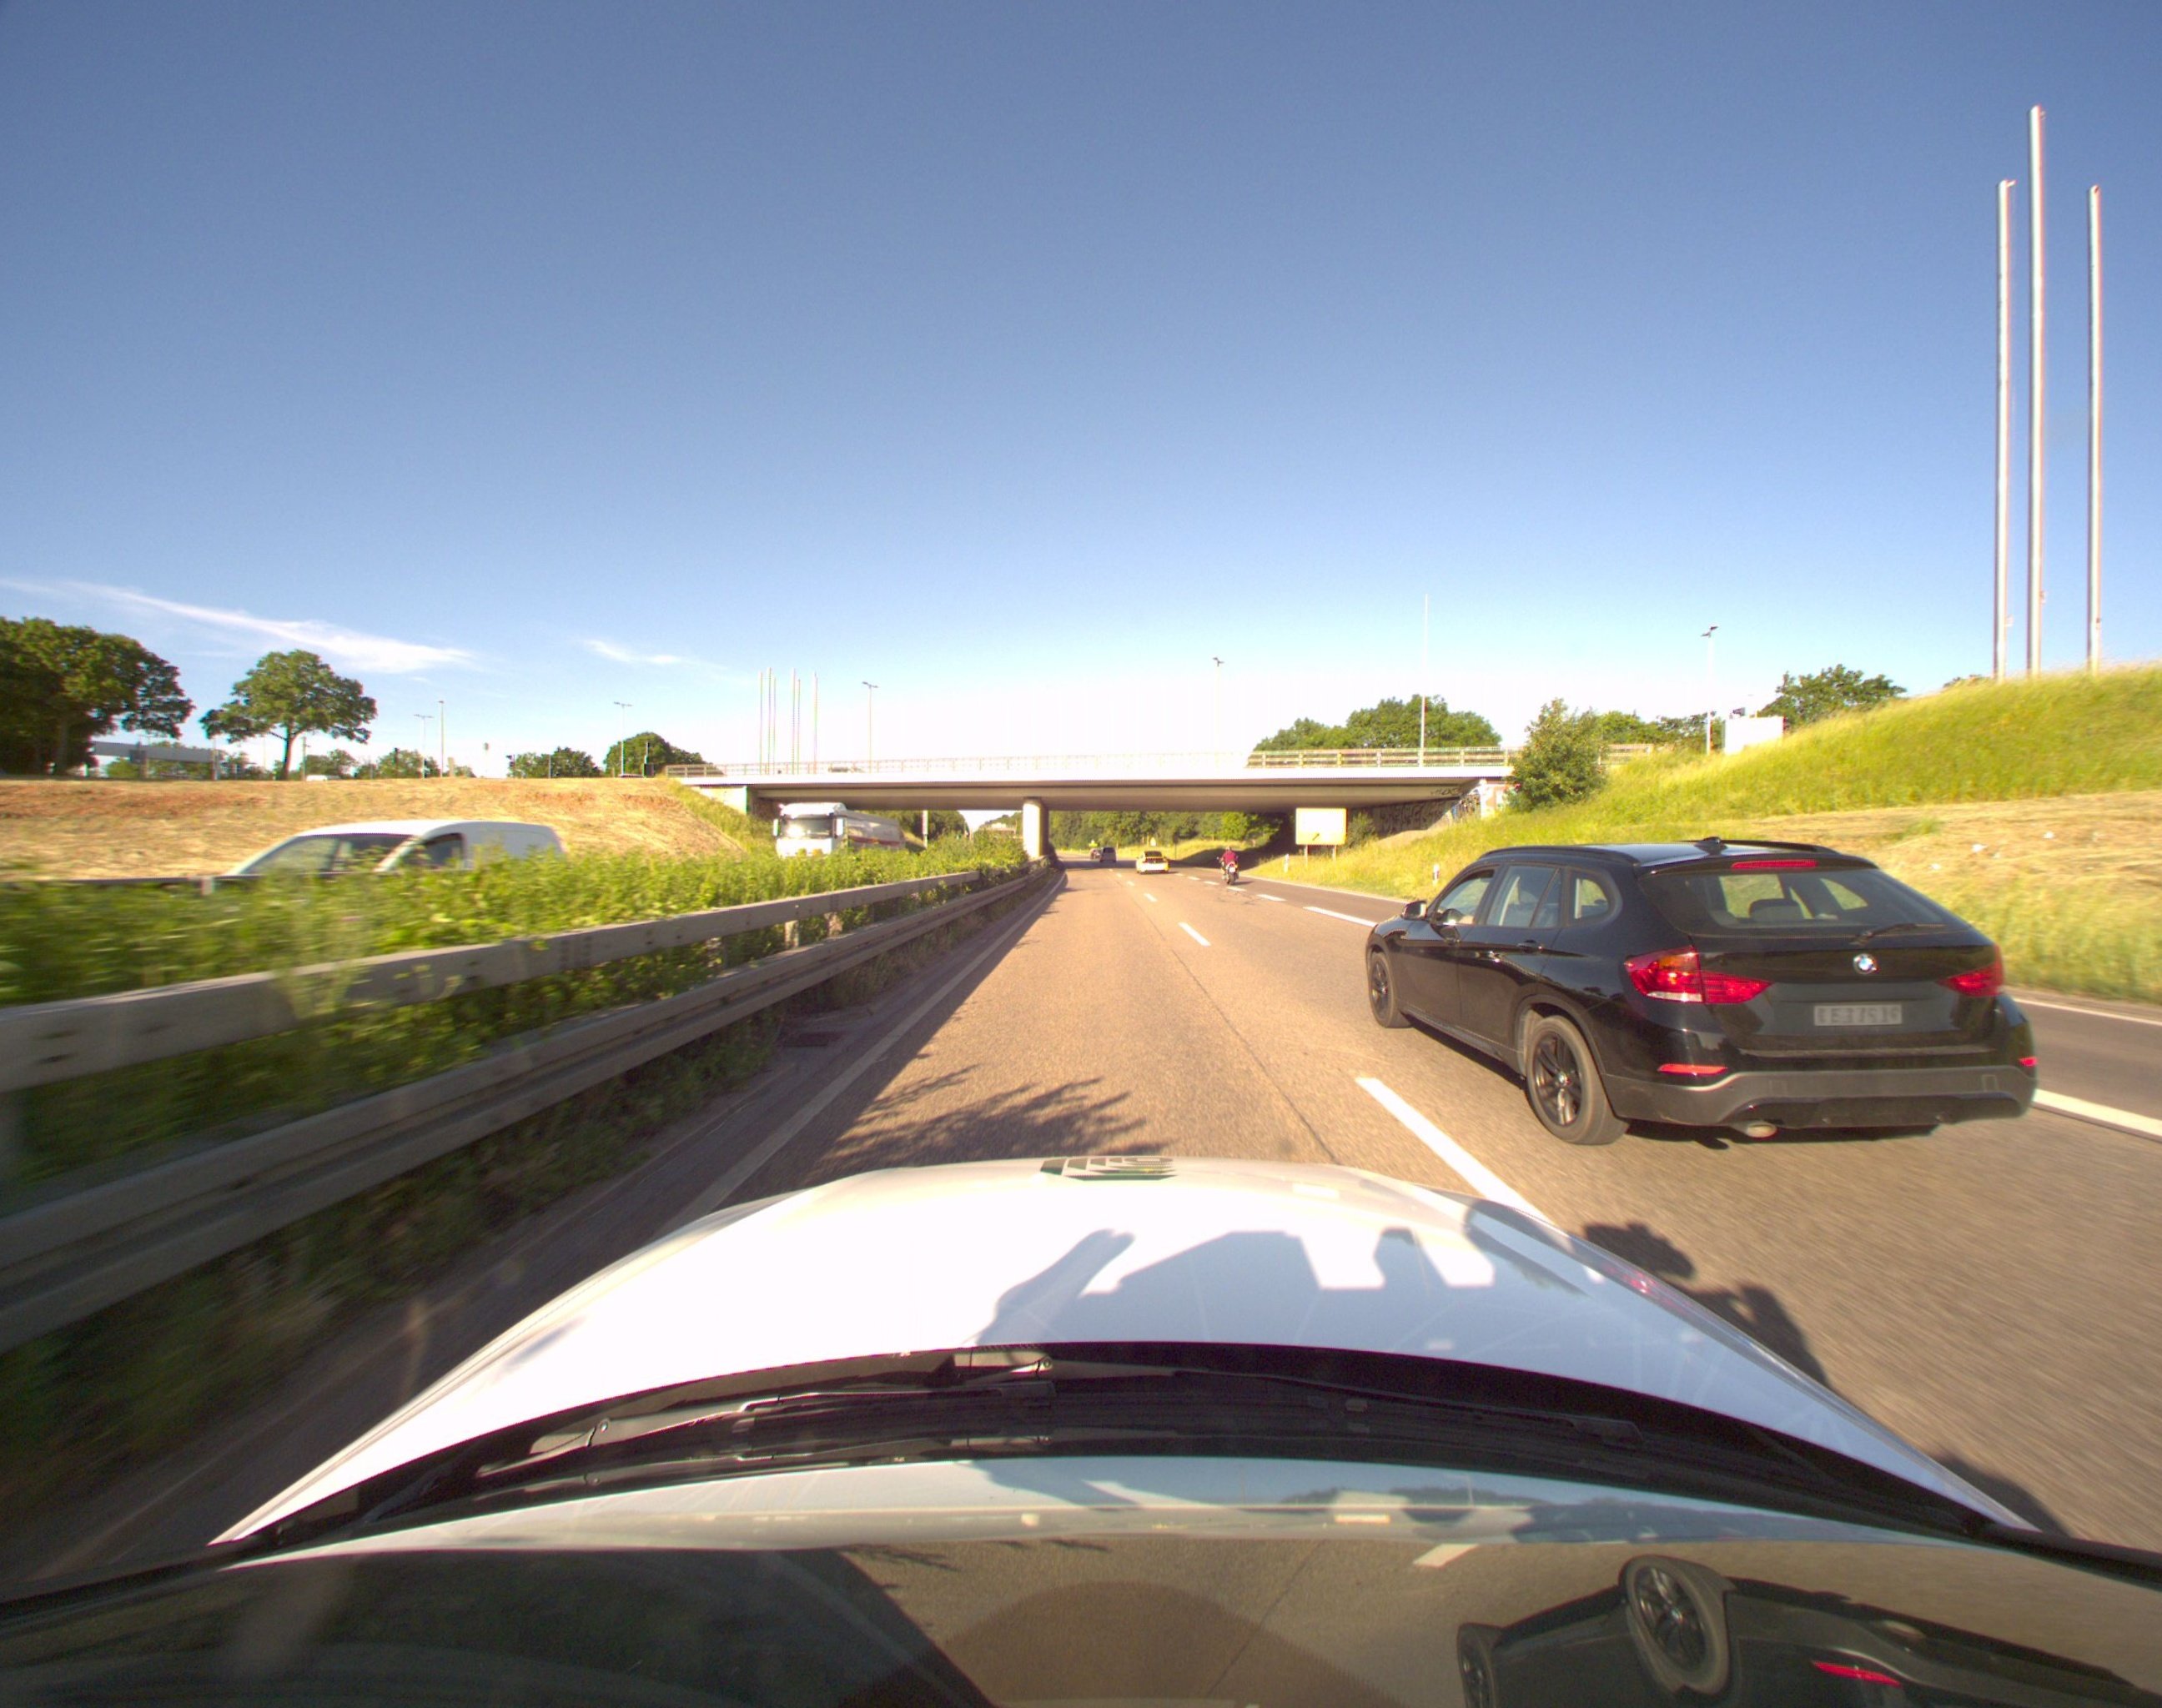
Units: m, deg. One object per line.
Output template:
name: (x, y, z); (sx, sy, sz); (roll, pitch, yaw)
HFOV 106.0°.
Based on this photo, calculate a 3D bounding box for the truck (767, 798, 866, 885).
truck: (-11.757, -0.552, 36.719); (2.768, 3.657, 5.322); (0, 0, -1)

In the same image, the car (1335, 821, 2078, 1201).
car: (3.299, 0.636, 5.658); (1.693, 1.506, 4.580); (-2, 0, 1)

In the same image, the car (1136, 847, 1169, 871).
car: (4.566, 0.283, 52.403); (1.890, 1.471, 4.002); (-1, 1, 2)

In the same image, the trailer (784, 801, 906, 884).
trailer: (-11.755, -0.559, 42.213); (2.767, 3.657, 12.203); (0, 0, 0)

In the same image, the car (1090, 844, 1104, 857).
car: (2.324, -0.502, 117.303); (1.891, 1.767, 3.999); (-1, 0, 0)

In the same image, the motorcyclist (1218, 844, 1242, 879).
motorcyclist: (6.374, 0.323, 34.875); (0.814, 1.447, 1.092); (-1, 0, -3)

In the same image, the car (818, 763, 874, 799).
car: (-20.254, -6.270, 70.308); (4.271, 2.805, 2.093); (0, 0, 23)

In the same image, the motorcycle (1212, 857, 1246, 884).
motorcycle: (6.367, 0.676, 35.144); (0.814, 1.069, 2.833); (-1, 0, -2)

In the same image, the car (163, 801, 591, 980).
car: (-7.921, 0.339, 9.758); (1.678, 1.716, 3.897); (0, 0, 1)

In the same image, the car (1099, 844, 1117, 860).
car: (3.106, -0.194, 94.386); (1.891, 1.767, 3.998); (-2, 0, -1)
